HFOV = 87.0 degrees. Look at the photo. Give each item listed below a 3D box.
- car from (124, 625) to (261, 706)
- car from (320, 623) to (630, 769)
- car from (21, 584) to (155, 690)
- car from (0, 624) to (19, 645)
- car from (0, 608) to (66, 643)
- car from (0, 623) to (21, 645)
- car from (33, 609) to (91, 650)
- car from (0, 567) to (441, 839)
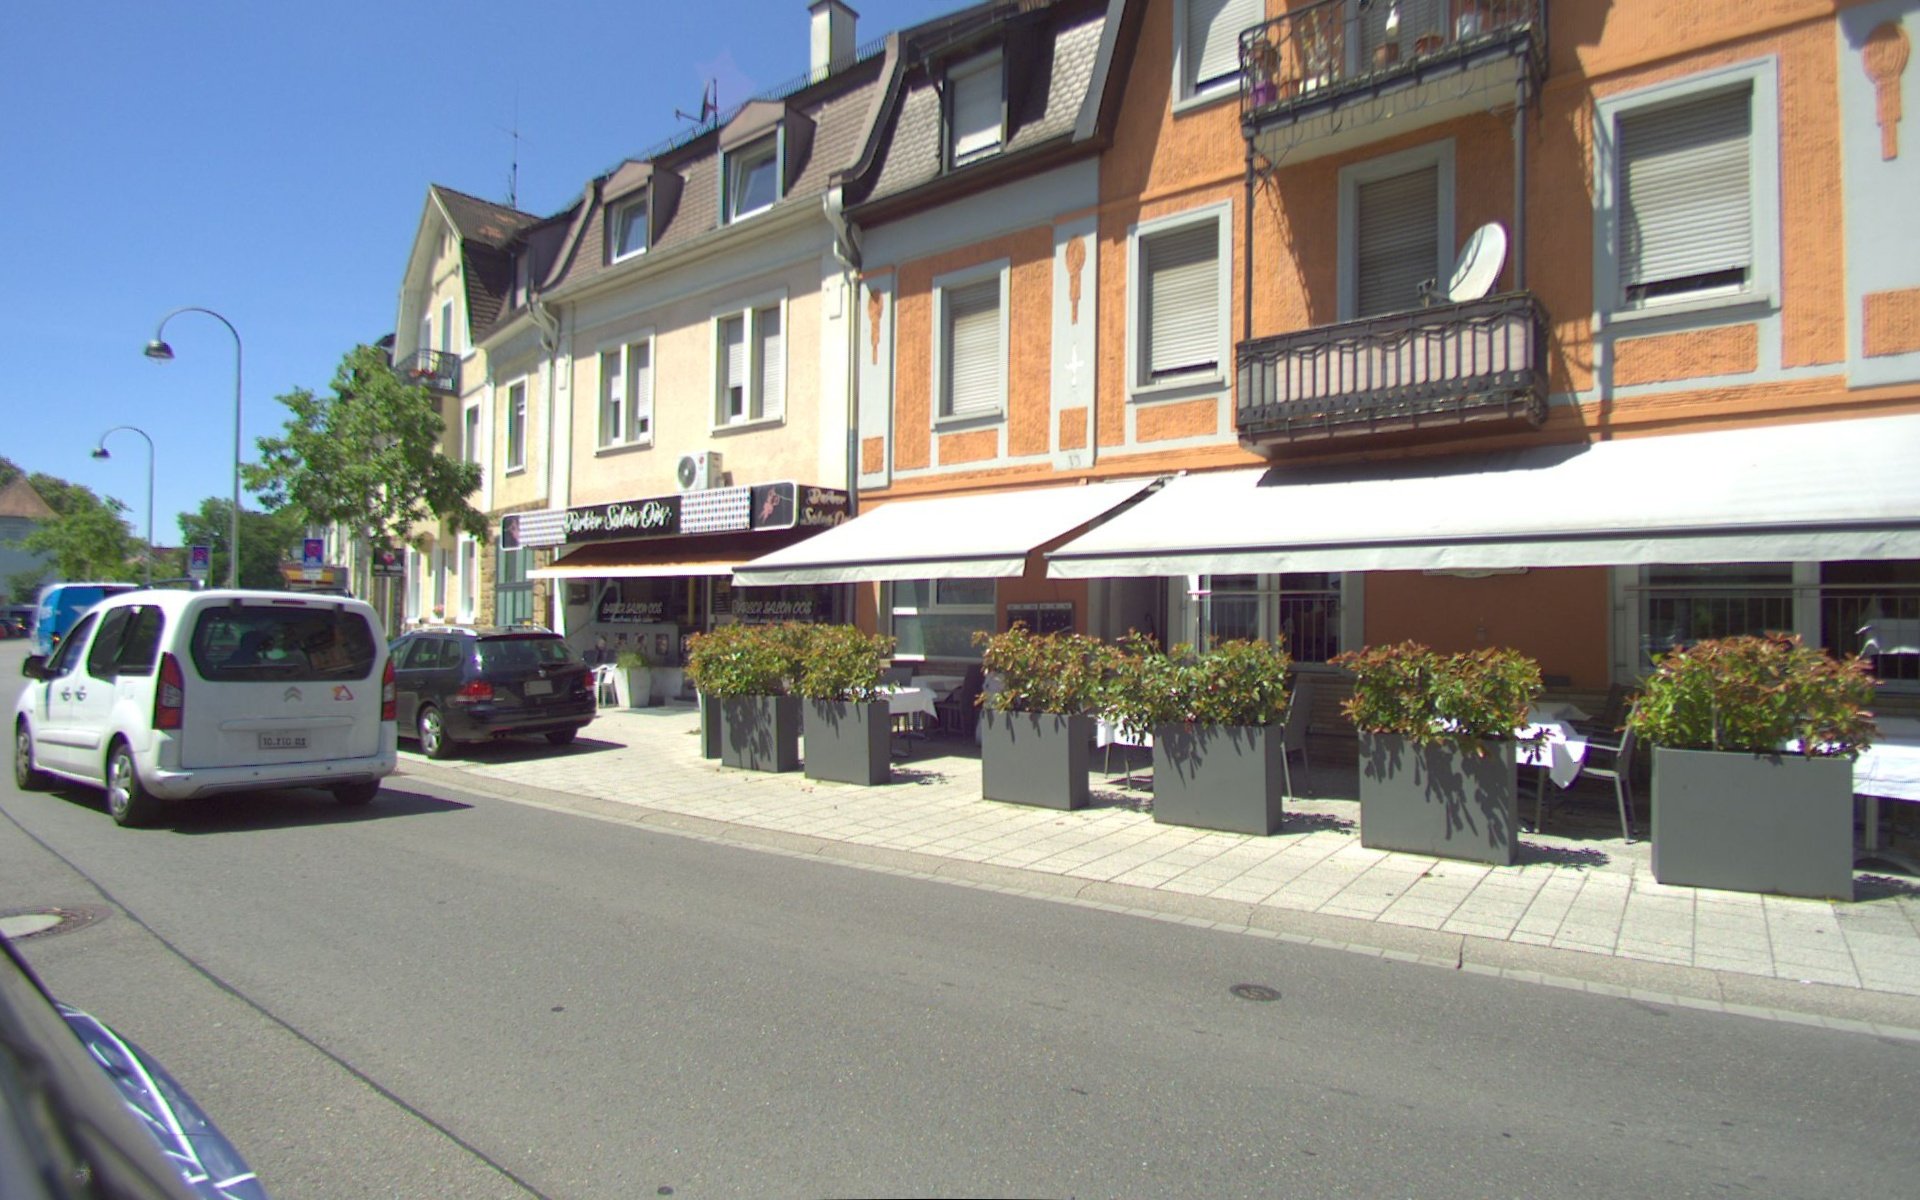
[{"bbox_3d":[-16.341,1.319,21.508,3.512,1.532,1.544,0,-1,39],"label":"car"},{"bbox_3d":[-6.254,1.076,12.838,4.333,1.493,1.896,-1,0,40],"label":"car"},{"bbox_3d":[-23.100,0.933,26.722,5.502,2.517,2.069,-1,-1,43],"label":"car"},{"bbox_3d":[-68.720,2.413,70.984,3.756,1.473,1.656,2,-2,-34],"label":"car"},{"bbox_3d":[-76.925,2.085,83.219,4.788,2.757,1.856,3,-3,-32],"label":"car"},{"bbox_3d":[-71.376,2.417,73.557,4.289,1.563,1.656,3,-3,-36],"label":"car"},{"bbox_3d":[-54.730,1.855,61.770,2.128,2.380,5.258,4,-4,-37],"label":"car"},{"bbox_3d":[-6.741,0.786,8.974,4.406,1.836,1.976,-1,-4,36],"label":"car"}]
